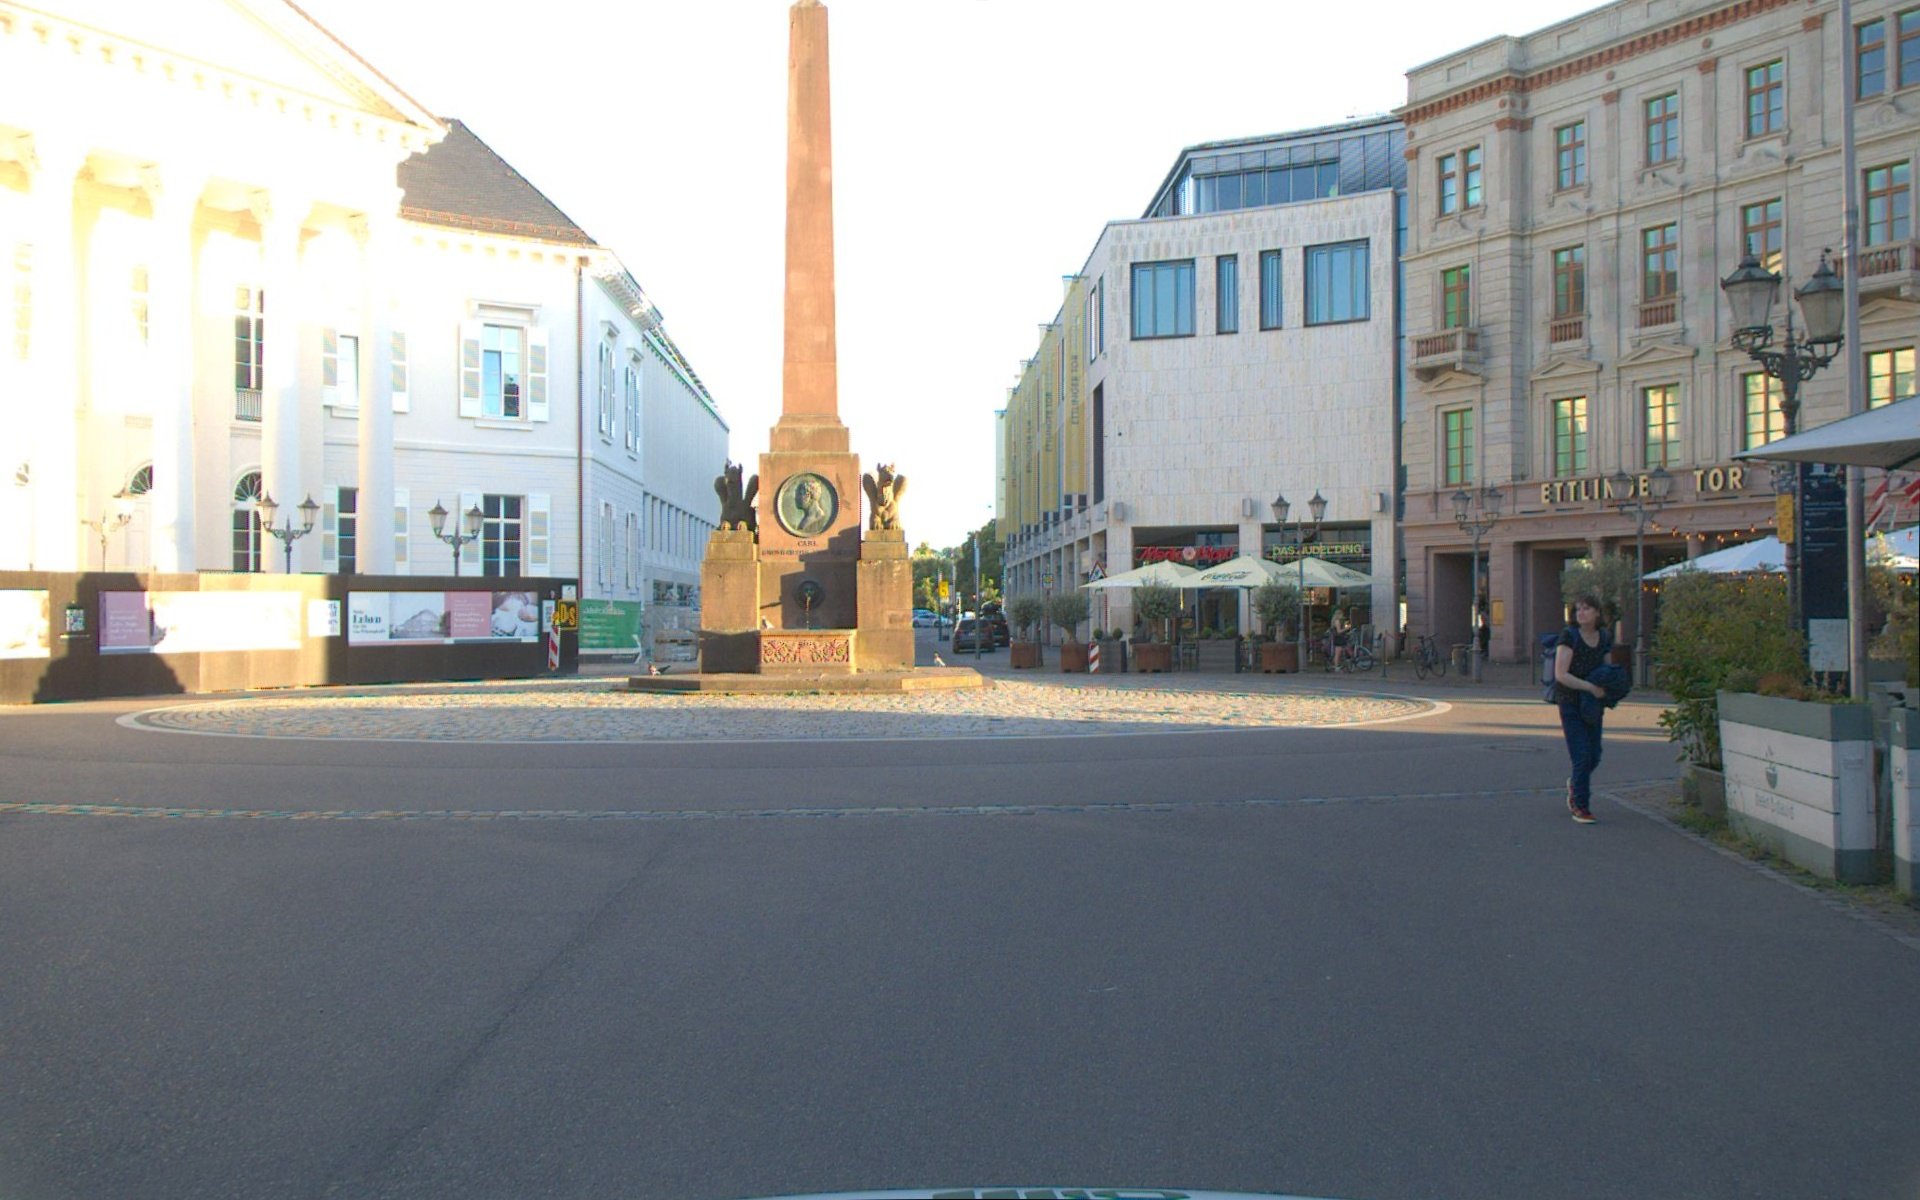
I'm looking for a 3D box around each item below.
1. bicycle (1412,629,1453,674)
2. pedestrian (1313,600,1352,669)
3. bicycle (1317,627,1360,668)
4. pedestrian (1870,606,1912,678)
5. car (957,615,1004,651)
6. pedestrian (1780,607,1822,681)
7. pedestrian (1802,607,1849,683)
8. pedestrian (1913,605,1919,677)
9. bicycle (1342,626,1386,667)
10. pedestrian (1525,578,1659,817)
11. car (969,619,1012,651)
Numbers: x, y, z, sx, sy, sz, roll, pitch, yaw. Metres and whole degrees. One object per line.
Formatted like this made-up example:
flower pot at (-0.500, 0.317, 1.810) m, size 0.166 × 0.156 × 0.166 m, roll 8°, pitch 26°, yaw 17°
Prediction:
bicycle at (11.538, 1.250, 40.391) m, size 0.497 × 1.050 × 1.641 m, roll -1°, pitch -1°, yaw 33°
pedestrian at (9.604, 0.876, 42.653) m, size 0.885 × 1.759 × 0.850 m, roll -1°, pitch 0°, yaw 6°
bicycle at (10.079, 1.248, 44.061) m, size 0.589 × 1.050 × 1.641 m, roll -1°, pitch -1°, yaw 33°
pedestrian at (19.592, 0.876, 34.825) m, size 0.577 × 1.504 × 0.625 m, roll -1°, pitch 0°, yaw 9°
car at (0.848, 1.409, 71.419) m, size 1.953 × 1.490 × 3.999 m, roll 0°, pitch 0°, yaw -1°
pedestrian at (17.332, 0.896, 34.099) m, size 0.532 × 1.504 × 0.624 m, roll -1°, pitch 0°, yaw -1°
pedestrian at (17.336, 0.887, 33.129) m, size 0.575 × 1.504 × 0.684 m, roll -1°, pitch 0°, yaw 1°
pedestrian at (20.489, 0.865, 34.821) m, size 0.532 × 1.504 × 0.625 m, roll -1°, pitch 0°, yaw 9°
bicycle at (10.693, 1.214, 43.734) m, size 0.608 × 1.050 × 1.641 m, roll -1°, pitch -1°, yaw 33°
pedestrian at (4.585, 0.687, 12.037) m, size 0.676 × 1.676 × 0.695 m, roll -1°, pitch 0°, yaw -3°
car at (1.465, 1.658, 79.916) m, size 1.953 × 1.490 × 3.999 m, roll 0°, pitch 0°, yaw -1°
